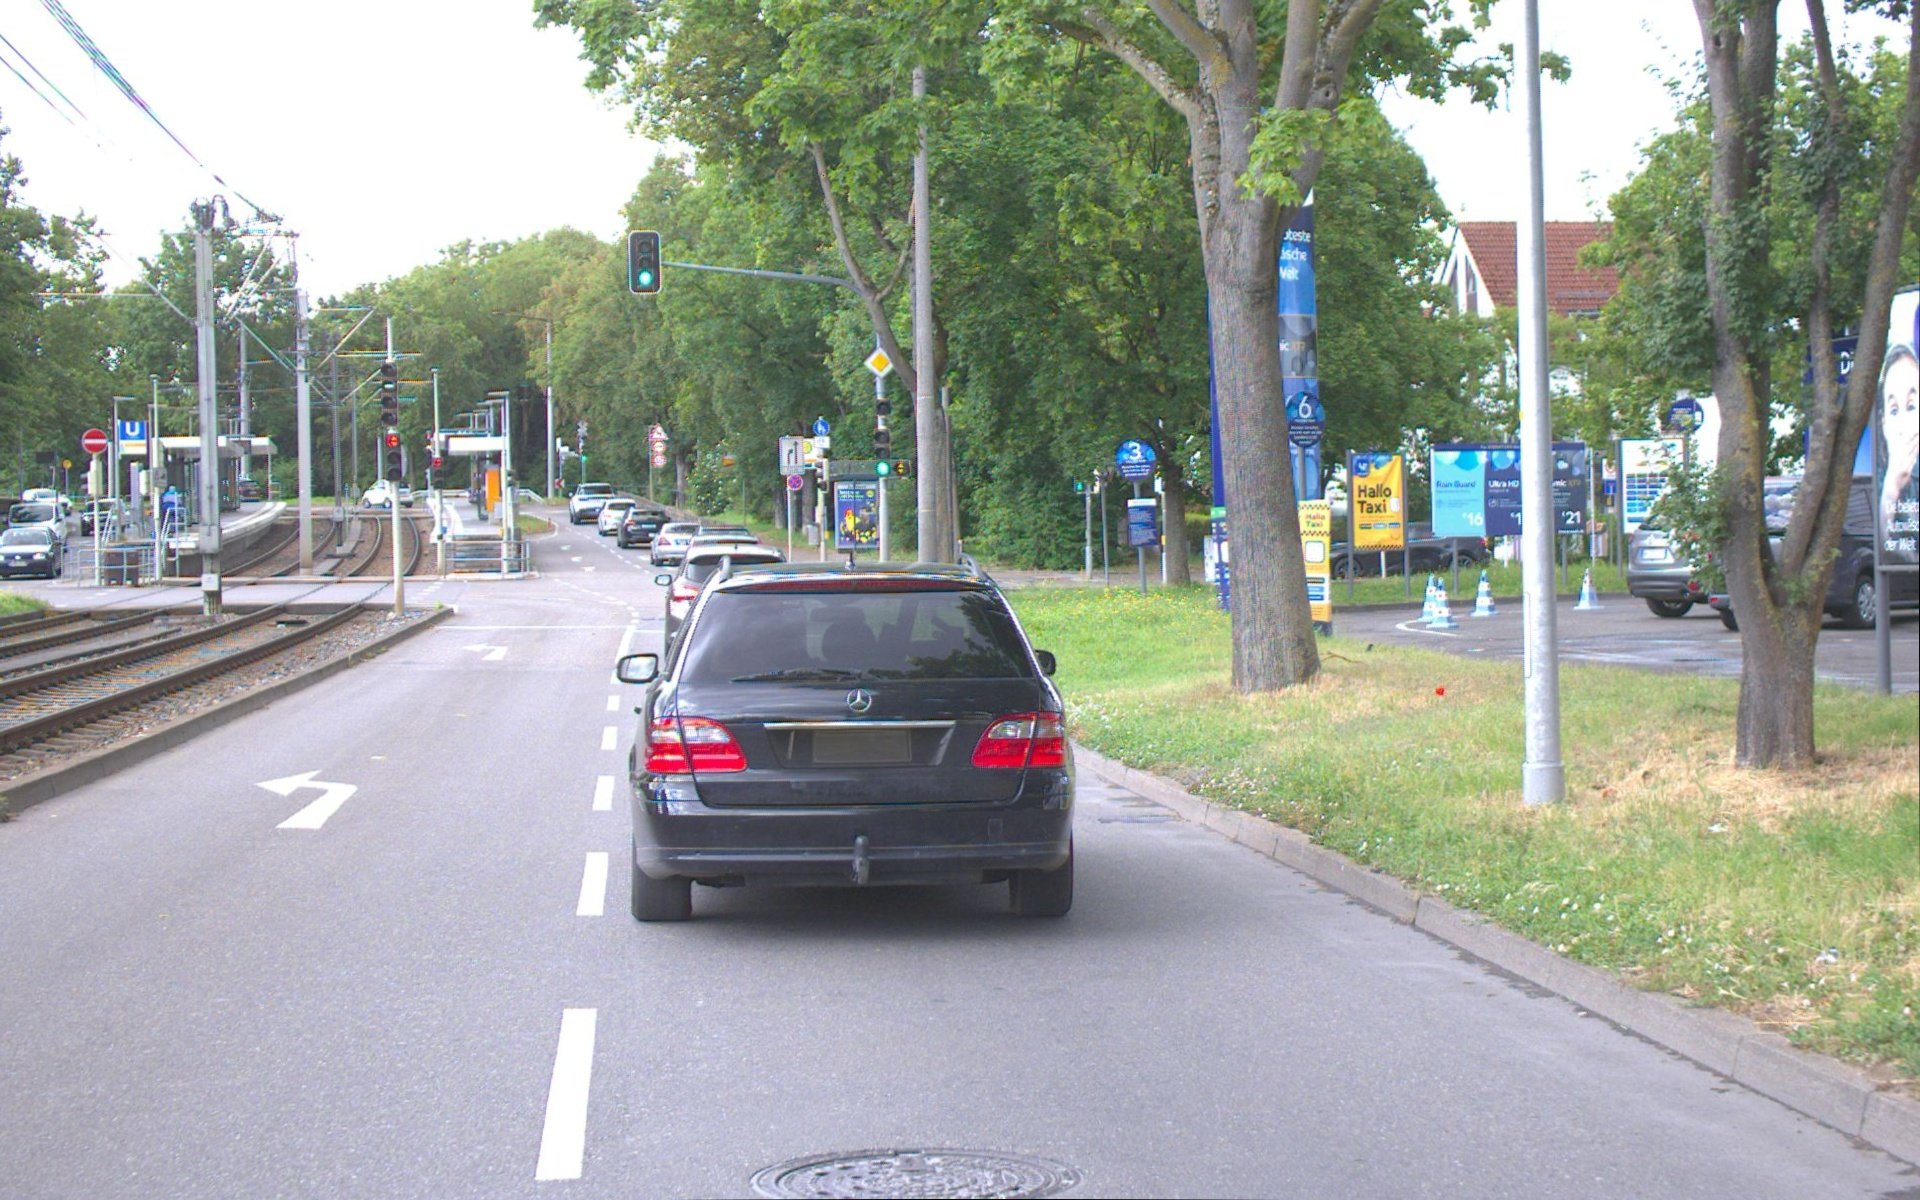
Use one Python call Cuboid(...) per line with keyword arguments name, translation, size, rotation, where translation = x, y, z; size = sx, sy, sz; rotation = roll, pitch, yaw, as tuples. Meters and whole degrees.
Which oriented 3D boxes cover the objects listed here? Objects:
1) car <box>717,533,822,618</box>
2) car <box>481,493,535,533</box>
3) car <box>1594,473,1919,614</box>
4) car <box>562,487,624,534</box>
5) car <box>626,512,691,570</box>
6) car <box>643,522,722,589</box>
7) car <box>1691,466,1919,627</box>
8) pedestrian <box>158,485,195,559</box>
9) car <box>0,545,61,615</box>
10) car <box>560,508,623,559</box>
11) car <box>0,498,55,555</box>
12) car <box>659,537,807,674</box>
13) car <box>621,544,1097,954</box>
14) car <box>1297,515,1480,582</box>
Cuboid(name="car", translation=(-4.488, -0.591, 80.587), size=(1.993, 1.911, 4.001), rotation=(1, 1, -9))
Cuboid(name="car", translation=(-23.609, -4.525, 179.596), size=(1.993, 2.007, 4.001), rotation=(1, 1, -19))
Cuboid(name="car", translation=(10.614, -0.761, 45.039), size=(4.198, 1.691, 1.841), rotation=(-2, 2, -23))
Cuboid(name="car", translation=(-16.506, -4.018, 154.618), size=(1.993, 2.007, 4.001), rotation=(1, 1, -17))
Cuboid(name="car", translation=(-10.700, -2.080, 121.819), size=(1.993, 1.960, 4.001), rotation=(1, 1, -9))
Cuboid(name="car", translation=(-8.254, -1.328, 101.900), size=(1.993, 1.886, 4.001), rotation=(1, 1, -9))
Cuboid(name="car", translation=(10.653, -0.667, 41.144), size=(1.750, 1.815, 4.374), rotation=(-1, 2, 42))
Cuboid(name="pedestrian", translation=(-23.289, -2.325, 102.233), size=(0.969, 2.178, 0.976), rotation=(-1, 1, -7))
Cuboid(name="car", translation=(-26.027, -0.578, 95.364), size=(1.696, 1.854, 4.001), rotation=(1, 1, -9))
Cuboid(name="car", translation=(-14.904, -2.687, 138.877), size=(1.993, 2.007, 4.001), rotation=(1, 1, -13))
Cuboid(name="car", translation=(-34.219, -2.664, 125.466), size=(1.993, 2.007, 4.887), rotation=(-2, 1, -11))
Cuboid(name="car", translation=(-2.884, 0.043, 44.165), size=(1.781, 1.642, 4.001), rotation=(1, 1, -3))
Cuboid(name="car", translation=(-0.559, 0.525, 14.881), size=(1.781, 1.520, 4.001), rotation=(0, 1, -5))
Cuboid(name="car", translation=(10.254, -1.227, 82.380), size=(4.152, 1.521, 1.704), rotation=(-1, 1, 0))
